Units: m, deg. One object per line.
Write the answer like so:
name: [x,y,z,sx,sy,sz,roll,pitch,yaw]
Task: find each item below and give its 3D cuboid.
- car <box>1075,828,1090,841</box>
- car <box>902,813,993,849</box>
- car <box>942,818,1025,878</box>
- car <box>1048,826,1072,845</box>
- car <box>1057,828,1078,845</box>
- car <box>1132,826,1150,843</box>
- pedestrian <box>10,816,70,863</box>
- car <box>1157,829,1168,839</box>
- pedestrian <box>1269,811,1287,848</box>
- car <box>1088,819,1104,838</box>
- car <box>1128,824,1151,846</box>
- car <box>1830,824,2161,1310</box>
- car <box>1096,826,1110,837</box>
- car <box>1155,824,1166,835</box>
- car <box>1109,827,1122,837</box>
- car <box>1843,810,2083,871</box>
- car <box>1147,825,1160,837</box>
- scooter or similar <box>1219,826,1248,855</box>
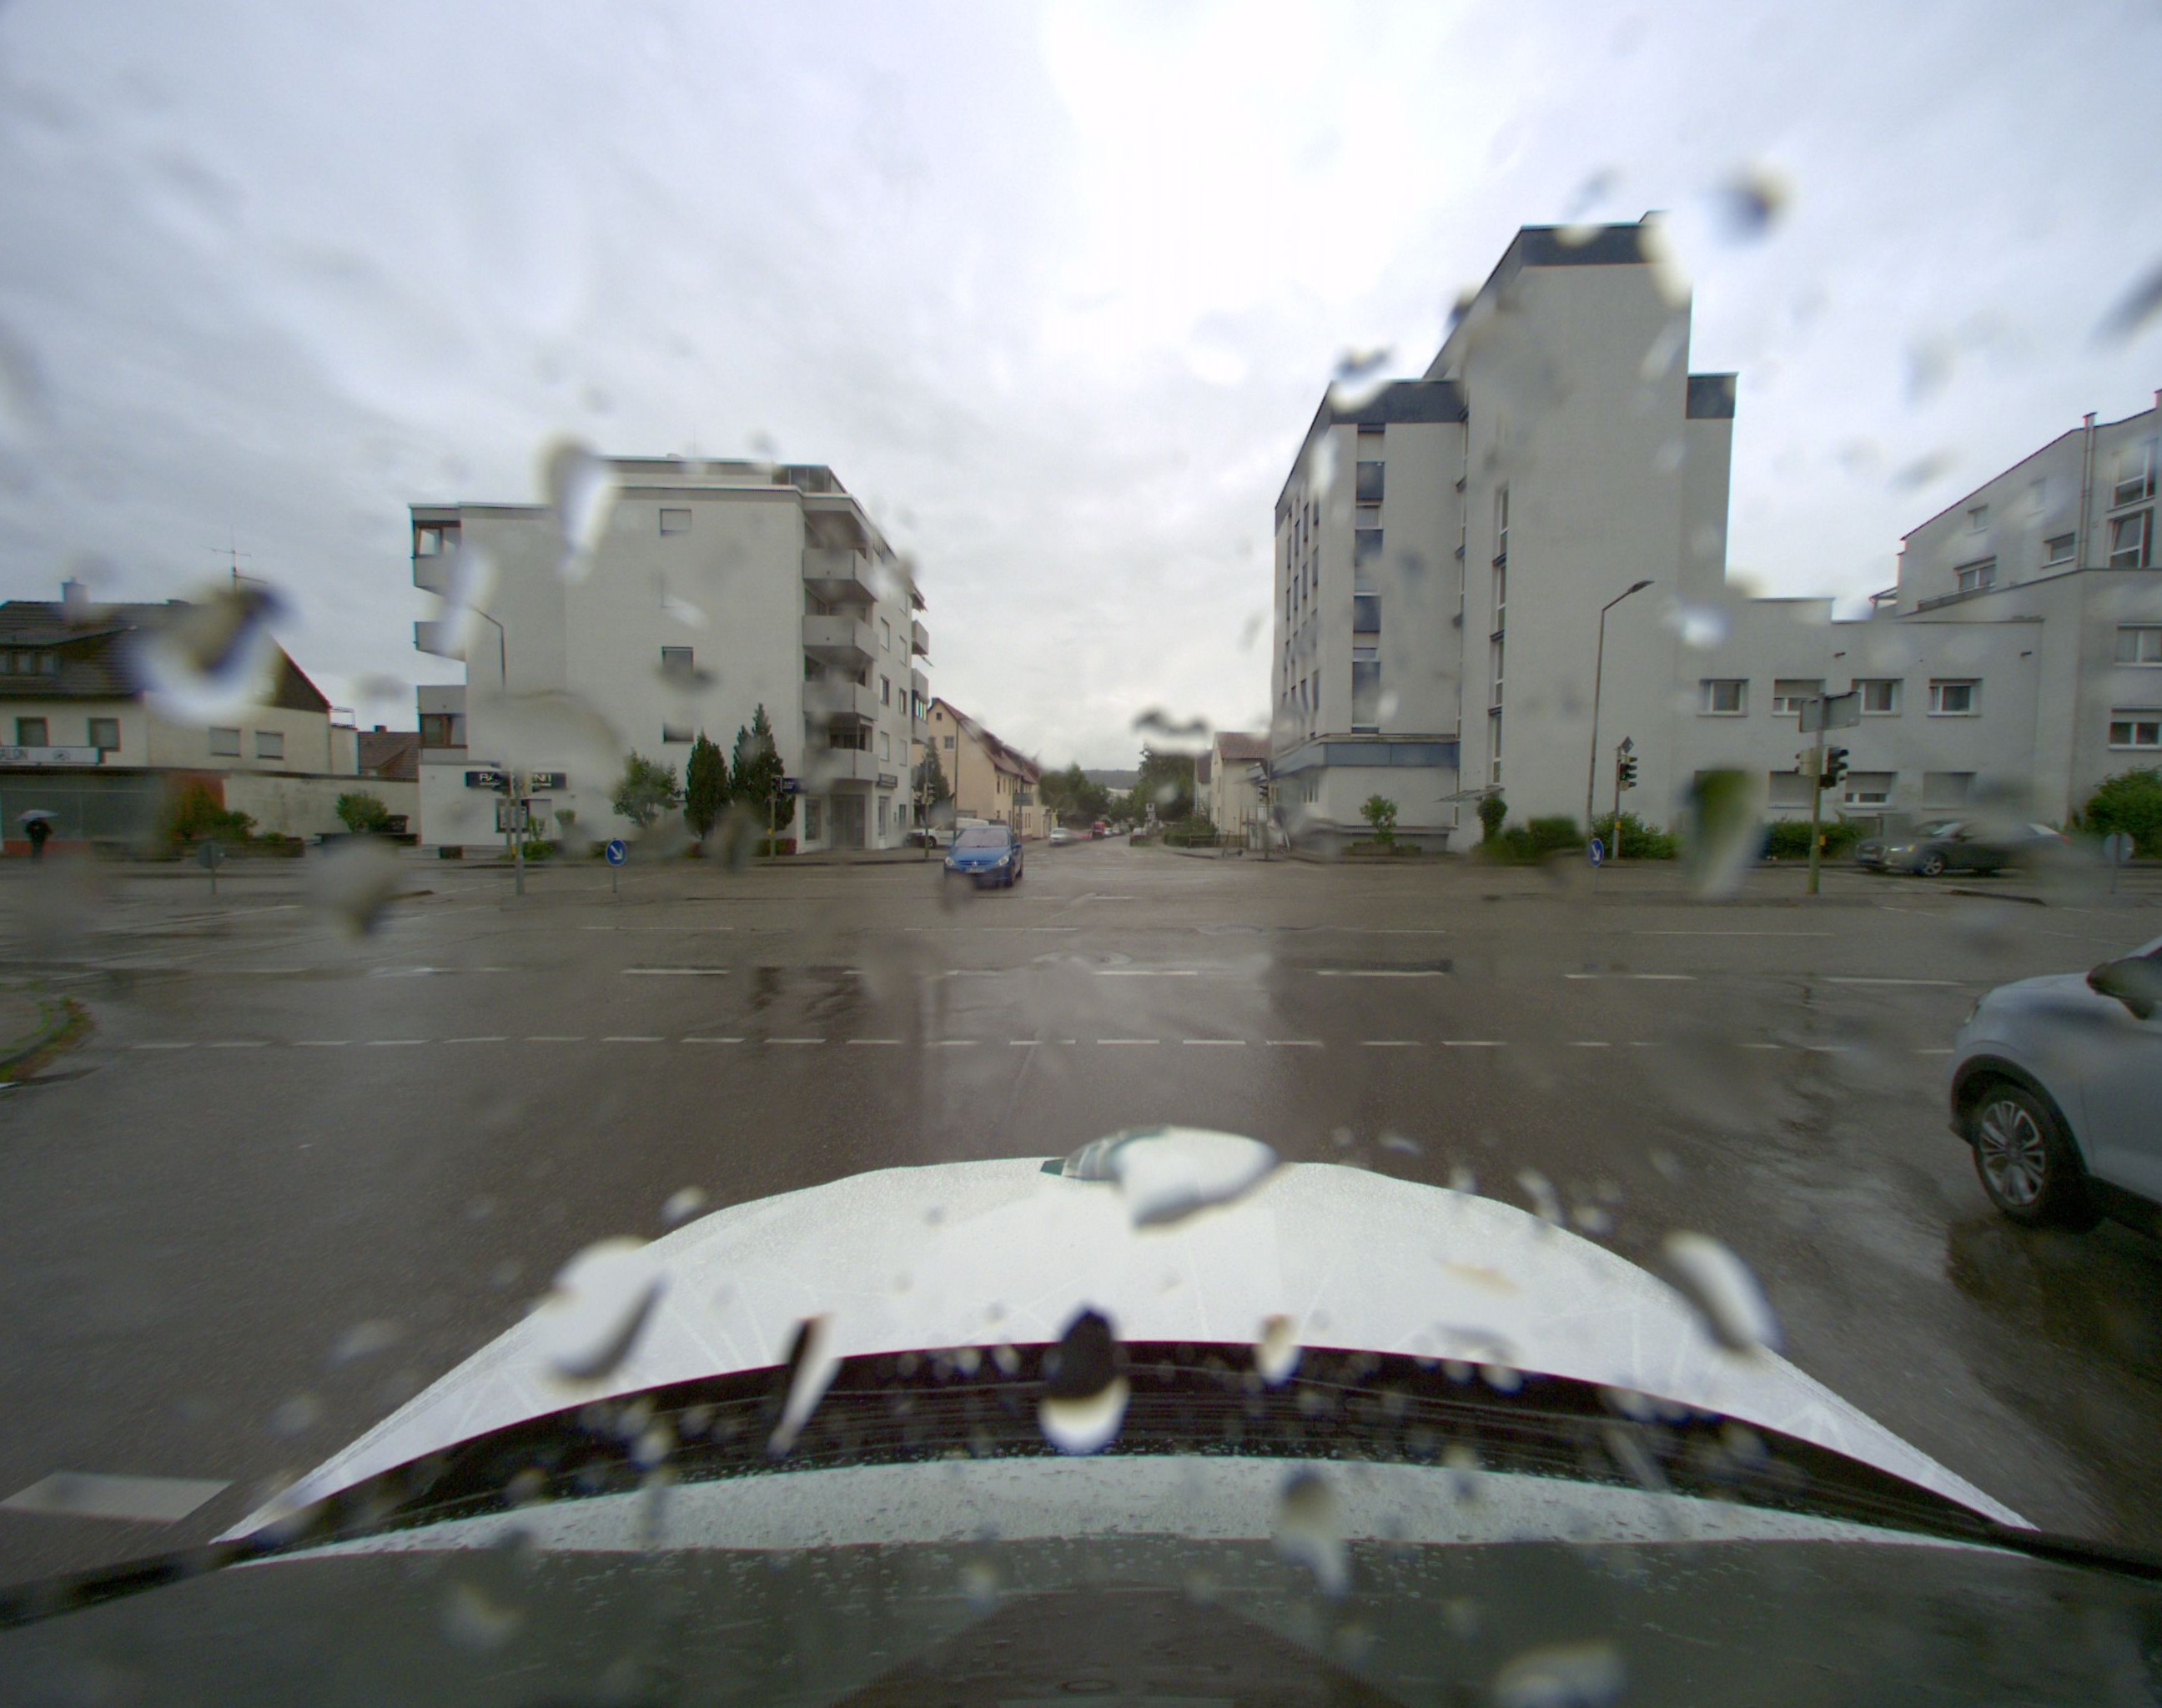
car: [0.143,-2.416,102.276,1.762,1.518,3.999,-1,1,-1]
car: [-7.427,-1.241,45.561,4.750,1.778,1.753,2,-1,-37]
car: [-2.507,-0.127,21.757,1.762,1.445,3.998,0,-1,-1]
car: [-1.681,-1.491,65.704,1.761,1.523,4.000,-1,1,0]
car: [-1.235,-1.689,77.266,1.760,1.518,4.197,-1,1,2]
car: [7.457,-2.431,101.080,1.983,2.013,4.009,-1,1,7]
pedestrian: [-35.281,-0.503,27.611,0.986,1.568,0.755,-1,1,1]
car: [16.847,-4.064,168.147,1.983,2.013,4.009,-1,1,7]
pedestrian: [9.008,-1.119,37.226,0.652,1.652,0.646,0,-1,2]
car: [2.341,-3.917,125.094,2.208,2.768,5.728,-1,1,2]
car: [5.664,-1.839,79.022,1.983,2.014,4.008,-1,-1,7]
car: [4.243,0.683,2.299,1.675,1.554,3.926,-1,1,18]
car: [3.761,-3.825,136.550,1.983,1.684,4.008,-1,-1,7]
car: [15.627,-4.766,159.529,1.983,2.013,4.009,-1,1,7]
car: [6.467,-4.157,152.026,1.982,1.706,4.009,-1,-1,9]
car: [23.310,-0.374,21.688,4.110,1.485,1.748,-1,3,10]
car: [12.064,-3.861,135.587,1.983,2.013,4.009,-1,1,7]
scooter or similar: [6.760,-0.591,36.155,1.058,1.227,0.799,0,-1,-8]
